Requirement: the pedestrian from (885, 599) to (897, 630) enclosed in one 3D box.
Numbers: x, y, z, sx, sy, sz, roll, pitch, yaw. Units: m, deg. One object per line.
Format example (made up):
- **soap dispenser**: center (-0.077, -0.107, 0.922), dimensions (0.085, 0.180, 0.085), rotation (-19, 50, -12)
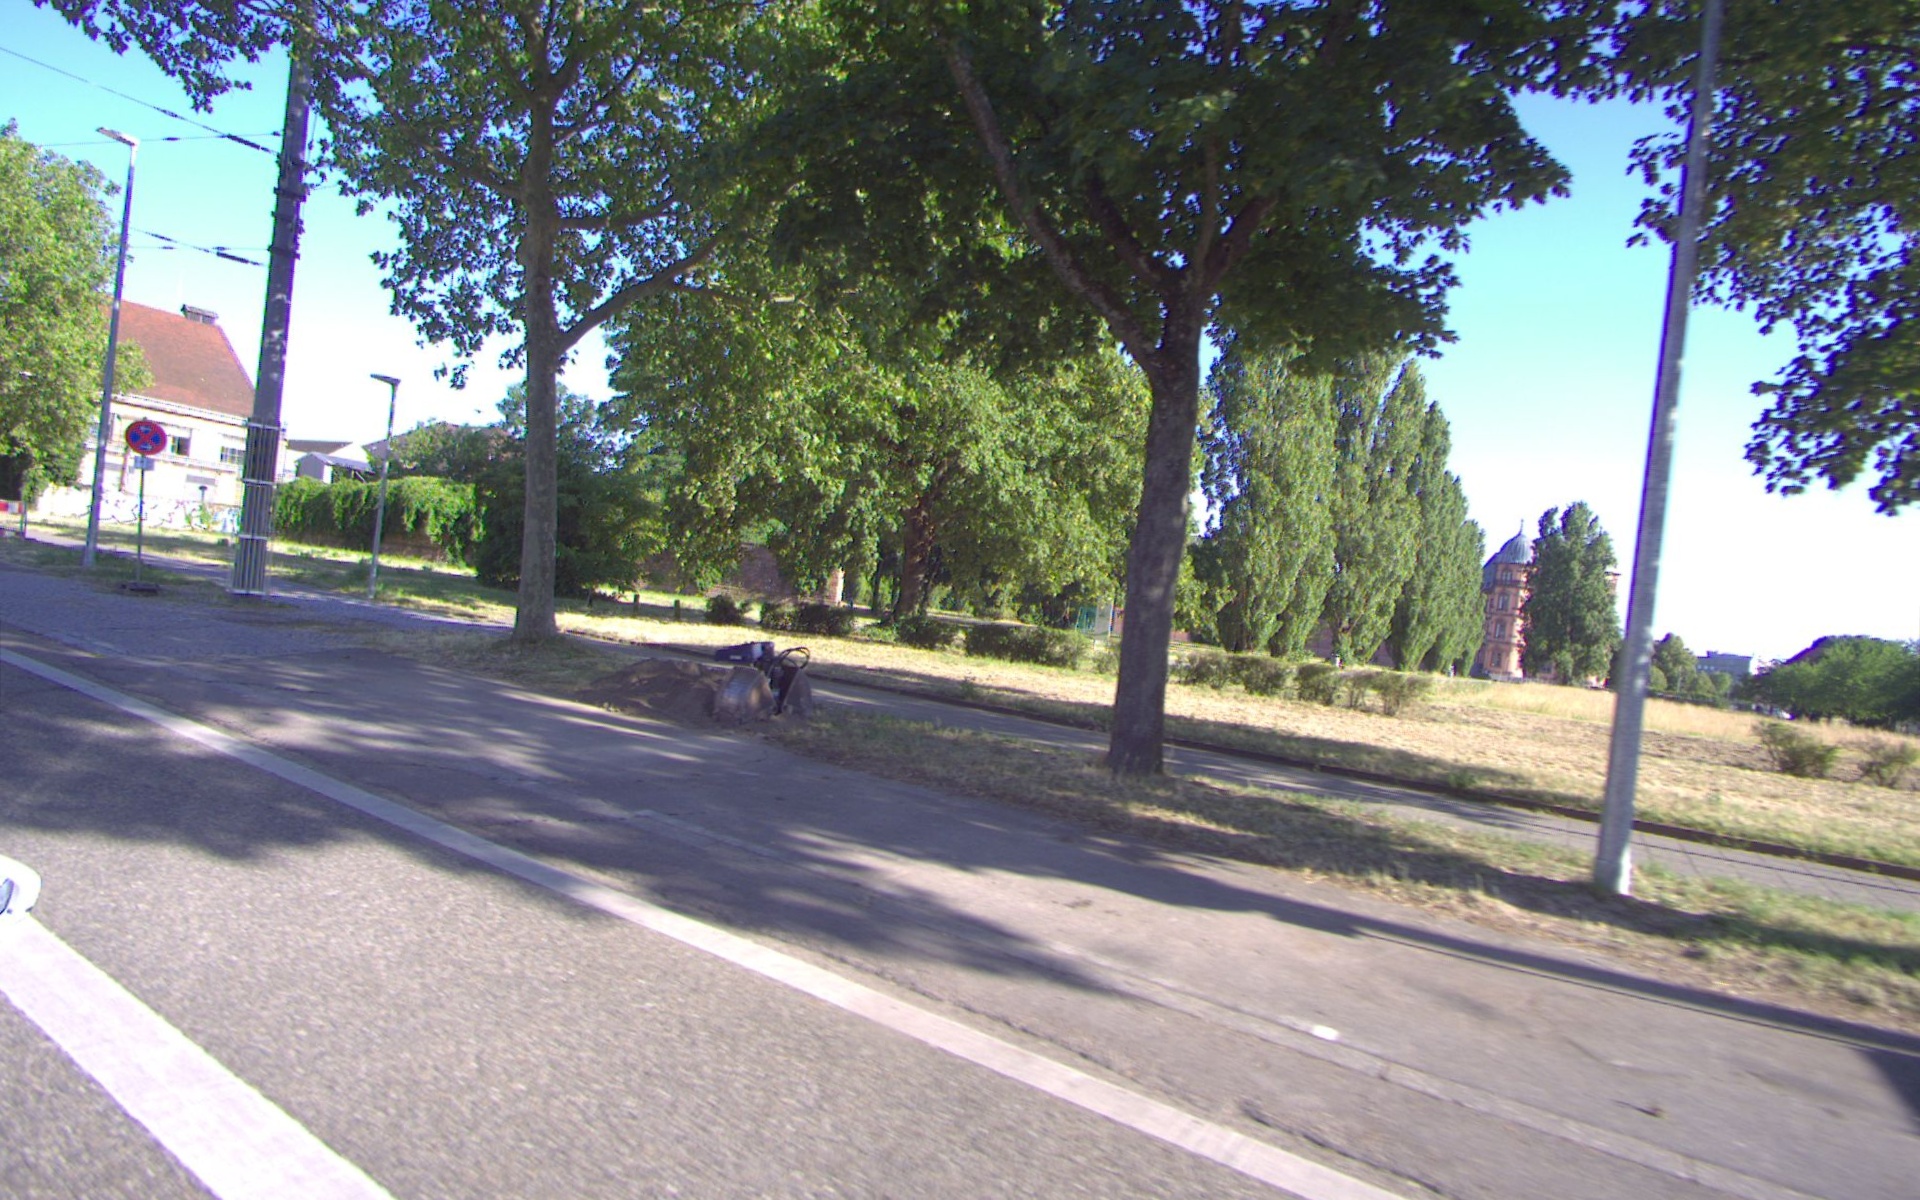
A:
- **pedestrian**: center (-3.349, 0.703, 48.875), dimensions (0.340, 1.437, 0.578), rotation (7, 1, 10)
